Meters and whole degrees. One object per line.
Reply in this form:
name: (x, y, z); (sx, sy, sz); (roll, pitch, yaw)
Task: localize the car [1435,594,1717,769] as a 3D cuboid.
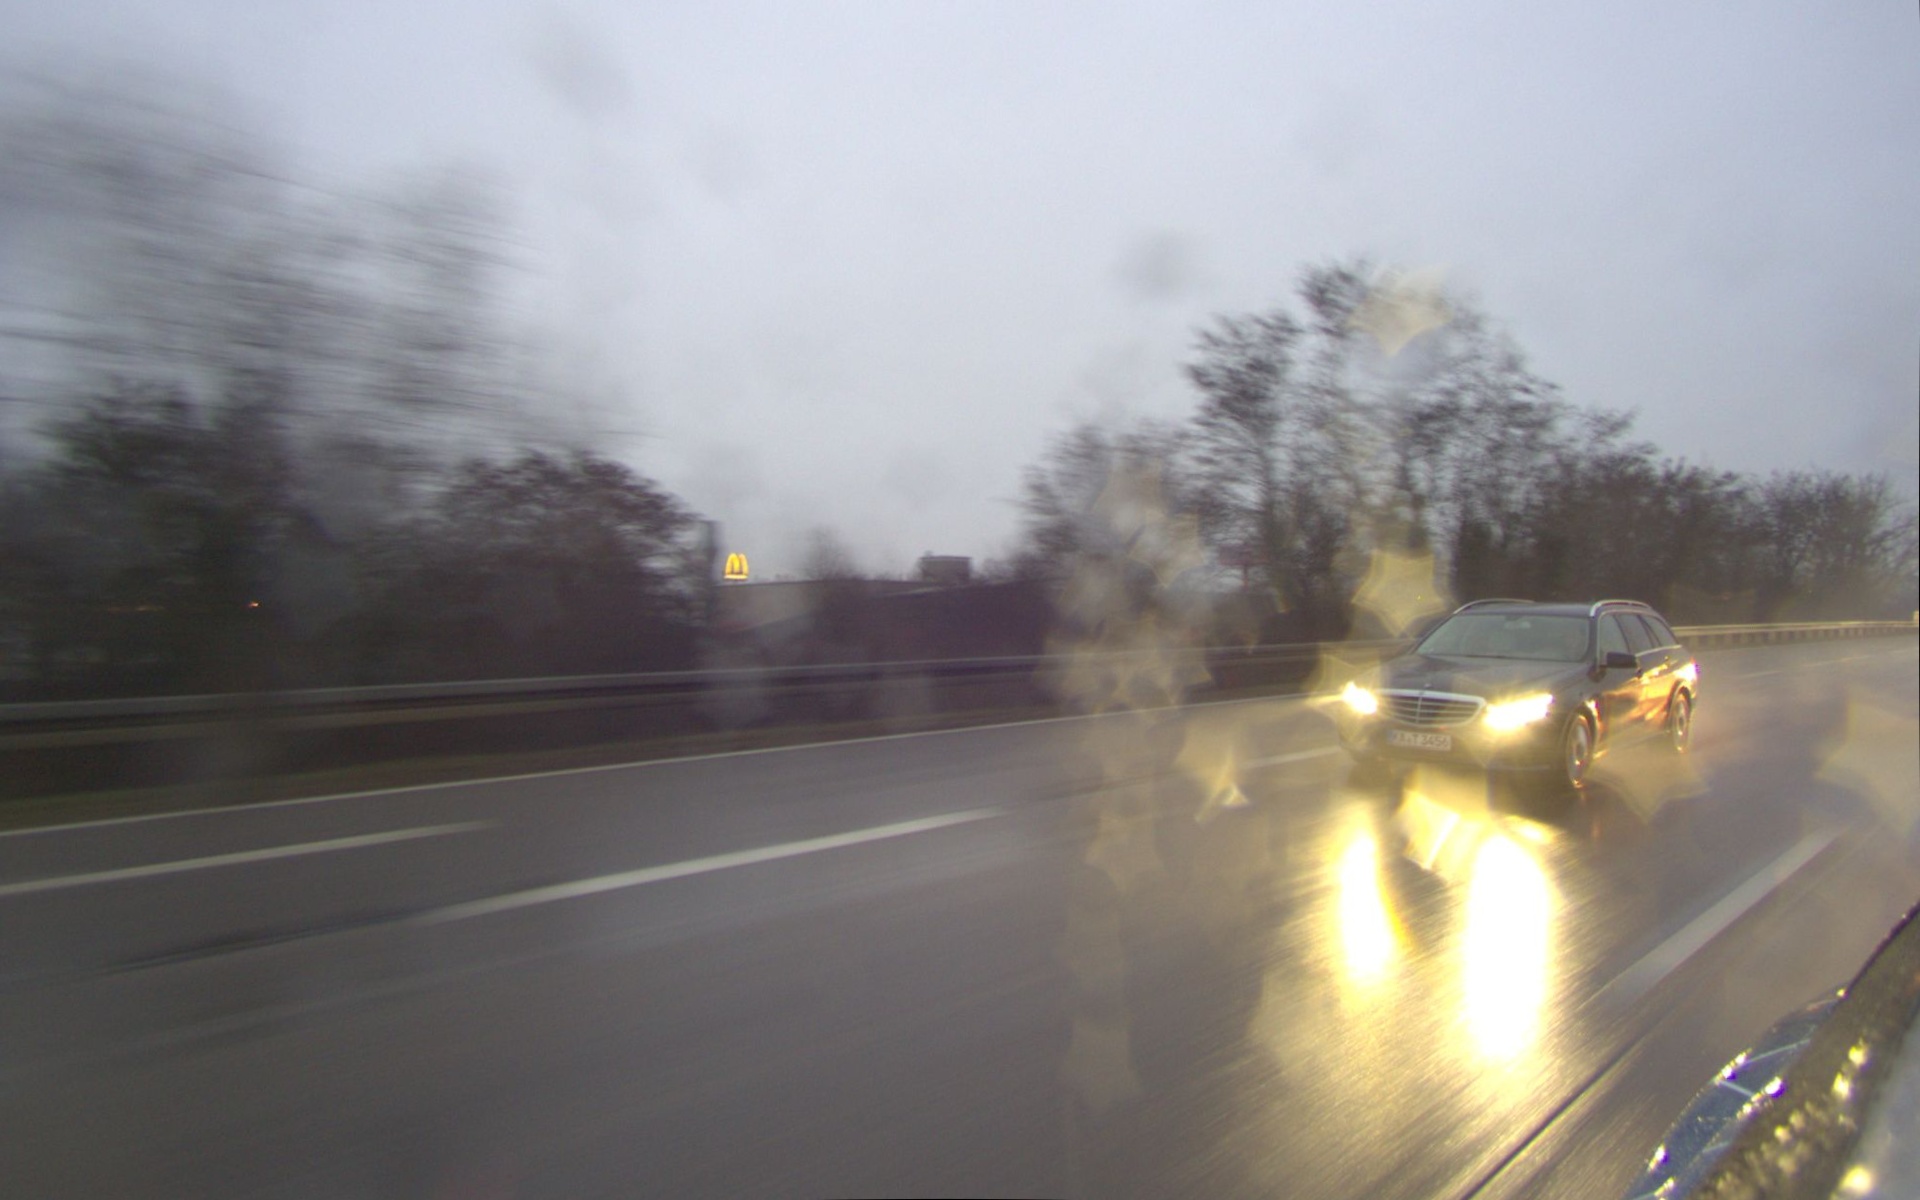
car: (6.544, 0.693, 10.558); (4.108, 1.472, 1.591); (0, 0, -45)
